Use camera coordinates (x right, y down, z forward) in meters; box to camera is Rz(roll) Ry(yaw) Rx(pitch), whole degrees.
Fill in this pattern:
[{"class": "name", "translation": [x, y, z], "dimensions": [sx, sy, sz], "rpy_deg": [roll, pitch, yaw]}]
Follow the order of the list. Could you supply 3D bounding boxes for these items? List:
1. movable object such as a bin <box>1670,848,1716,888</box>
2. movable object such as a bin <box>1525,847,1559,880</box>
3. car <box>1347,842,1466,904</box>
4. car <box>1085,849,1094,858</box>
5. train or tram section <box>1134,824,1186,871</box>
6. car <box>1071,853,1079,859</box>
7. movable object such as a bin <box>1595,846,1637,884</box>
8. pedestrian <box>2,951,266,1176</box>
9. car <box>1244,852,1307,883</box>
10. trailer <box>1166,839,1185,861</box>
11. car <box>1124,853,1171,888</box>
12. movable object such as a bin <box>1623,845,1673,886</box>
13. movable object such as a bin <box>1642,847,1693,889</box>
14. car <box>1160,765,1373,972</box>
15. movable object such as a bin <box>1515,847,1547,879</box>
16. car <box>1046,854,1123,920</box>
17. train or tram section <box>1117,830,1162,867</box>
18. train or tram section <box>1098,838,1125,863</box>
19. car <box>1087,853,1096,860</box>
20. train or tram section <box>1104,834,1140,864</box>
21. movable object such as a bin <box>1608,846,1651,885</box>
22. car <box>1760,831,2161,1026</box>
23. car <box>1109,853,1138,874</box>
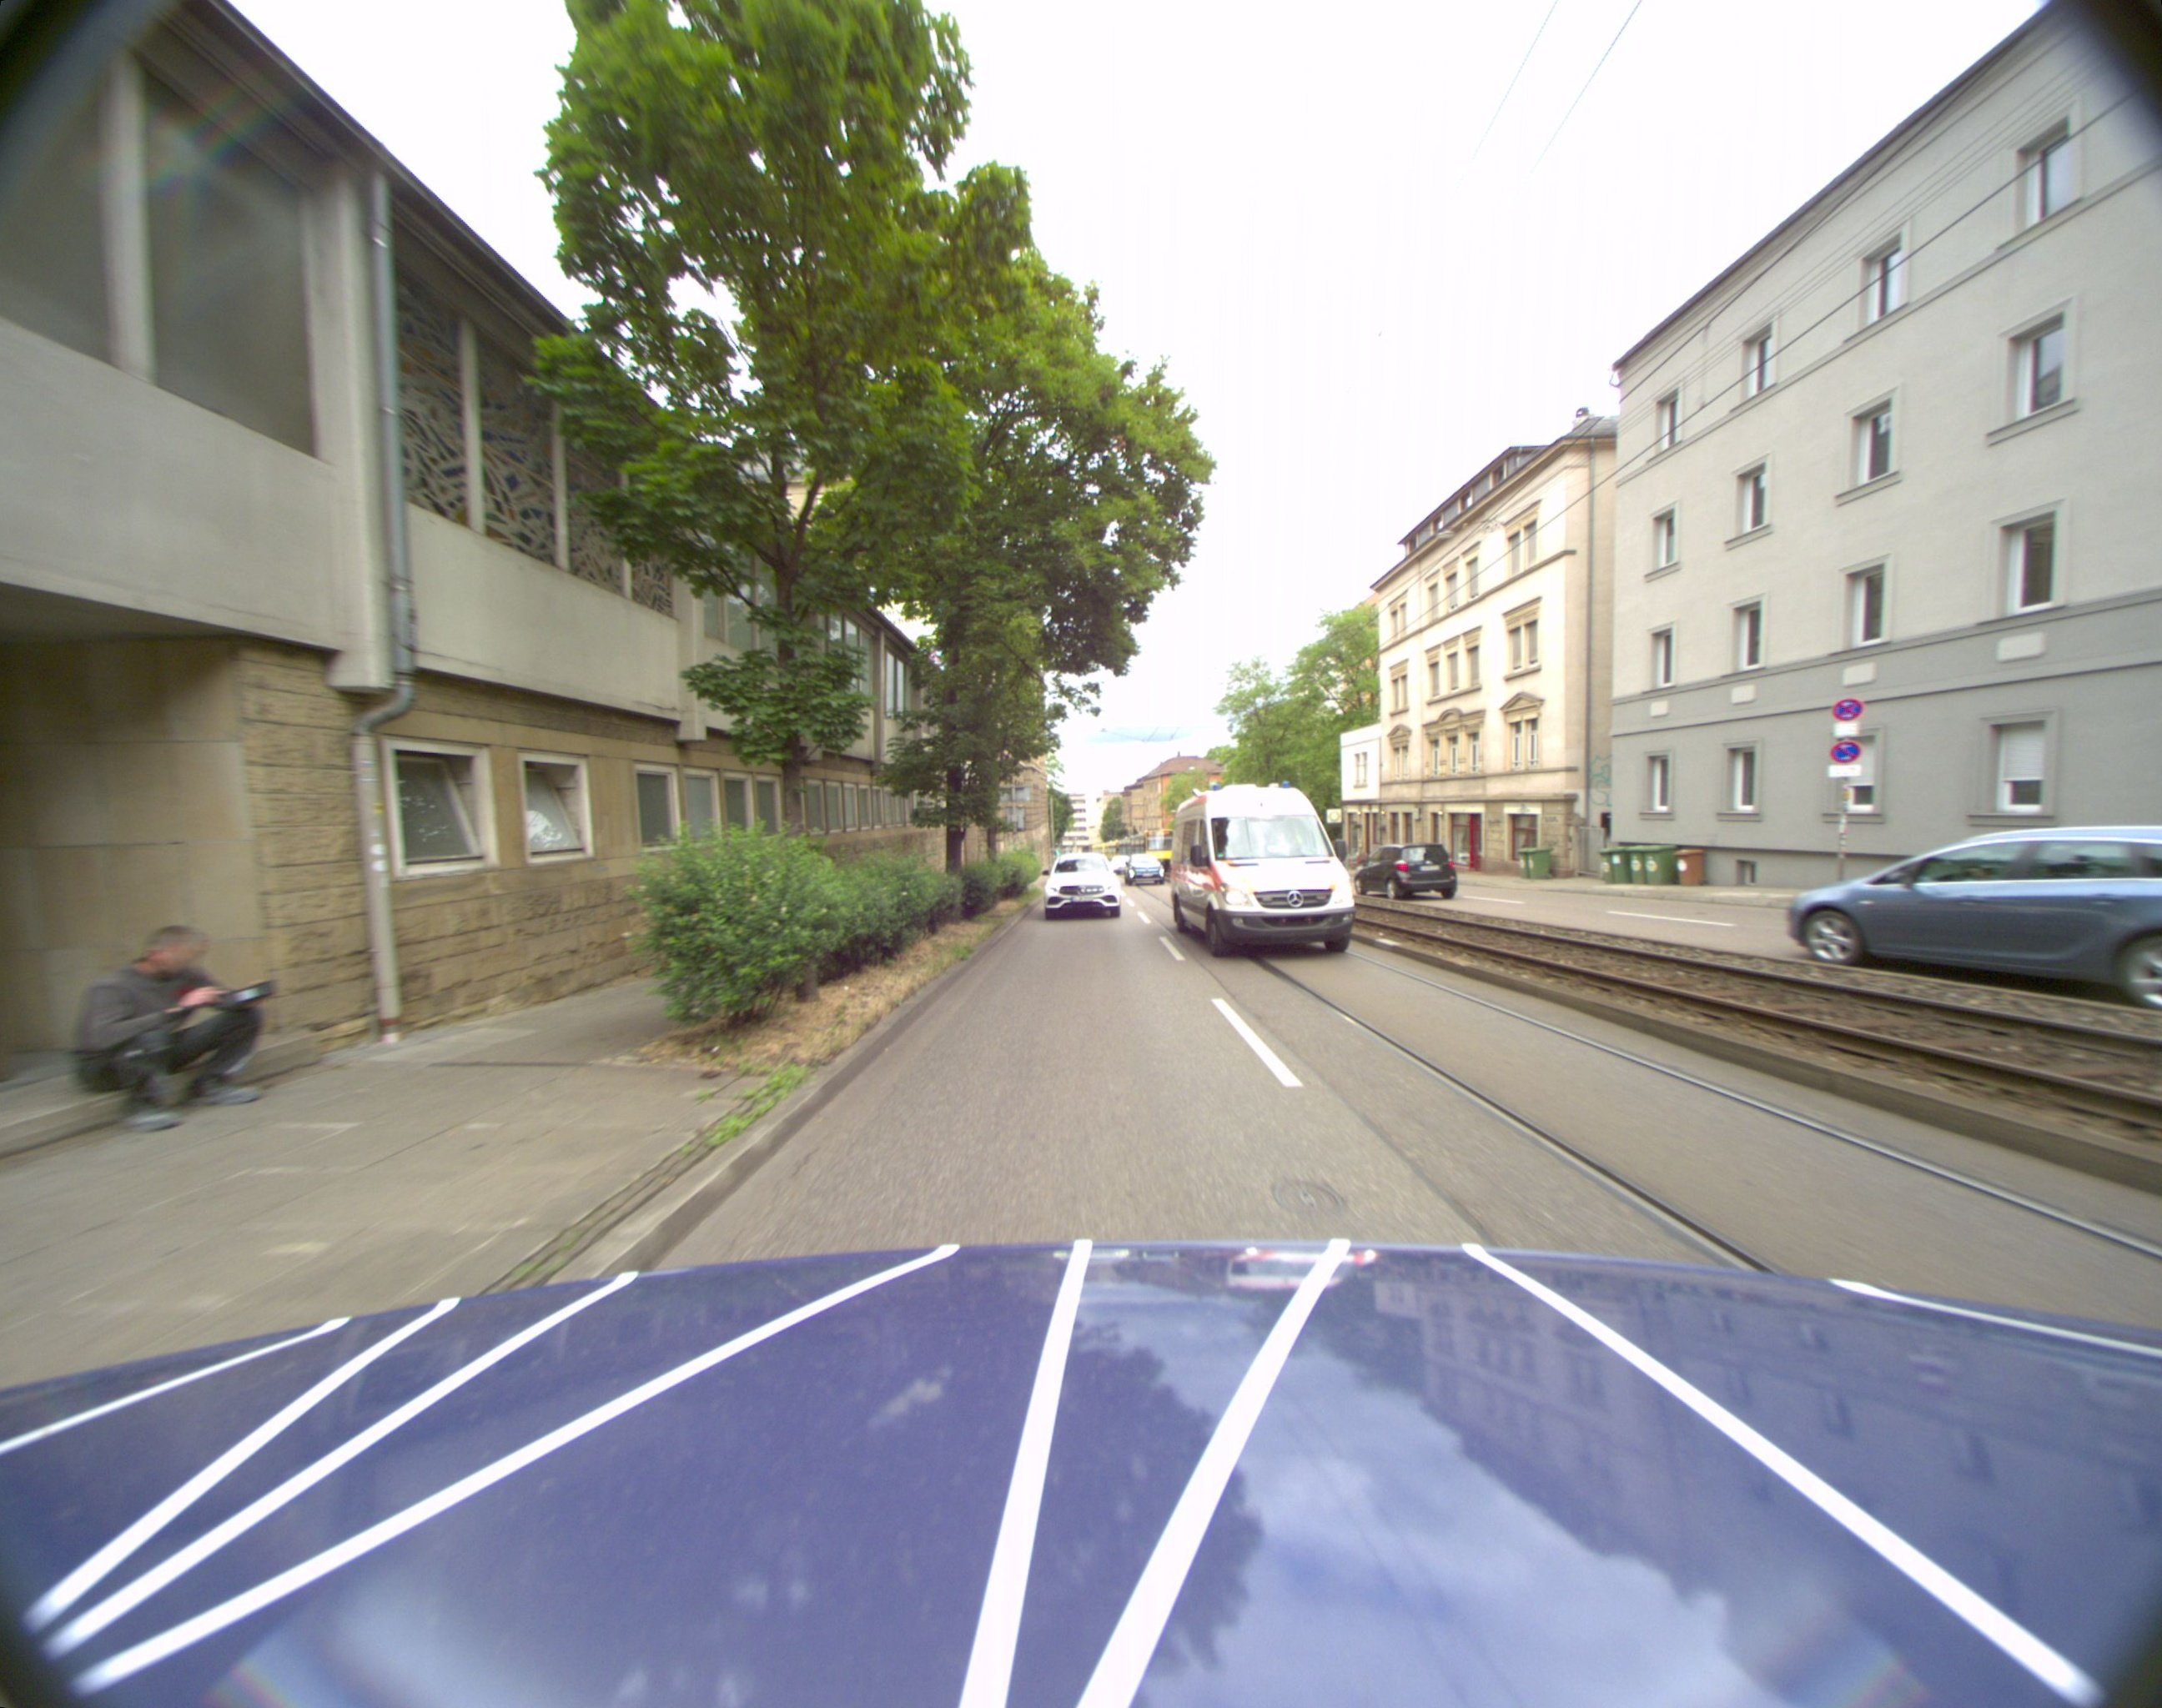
[{"class": "movable object such as a bin", "translation": [15.574, 0.357, 19.347], "dimensions": [0.624, 0.979, 0.676], "rpy_deg": [-2, 1, 1]}, {"class": "movable object such as a bin", "translation": [15.507, 0.312, 25.589], "dimensions": [0.719, 1.067, 0.681], "rpy_deg": [-2, 1, 1]}, {"class": "car", "translation": [9.271, 0.500, 22.003], "dimensions": [1.747, 1.586, 3.969], "rpy_deg": [-2, 0, 1]}, {"class": "car", "translation": [2.440, -0.160, 220.030], "dimensions": [1.872, 2.250, 4.747], "rpy_deg": [-3, 1, -4]}, {"class": "train or tram section", "translation": [7.160, -0.576, 71.801], "dimensions": [2.883, 3.704, 18.755], "rpy_deg": [-3, 0, 0]}, {"class": "car", "translation": [-1.880, 0.546, 224.984], "dimensions": [1.999, 1.574, 3.998], "rpy_deg": [-1, 0, -4]}, {"class": "movable object such as a bin", "translation": [15.533, 0.313, 22.064], "dimensions": [0.730, 1.067, 0.671], "rpy_deg": [-2, 1, 1]}, {"class": "pedestrian", "translation": [-4.741, 1.016, 3.845], "dimensions": [0.526, 0.959, 0.607], "rpy_deg": [-2, 1, 1]}, {"class": "car", "translation": [9.282, 0.604, 36.651], "dimensions": [1.816, 1.353, 4.764], "rpy_deg": [-2, 0, 1]}, {"class": "trailer", "translation": [13.359, -0.528, 107.787], "dimensions": [2.024, 2.956, 5.590], "rpy_deg": [-3, 0, 3]}, {"class": "car", "translation": [3.329, 0.785, 38.786], "dimensions": [1.931, 1.563, 4.180], "rpy_deg": [-4, 0, -1]}, {"class": "movable object such as a bin", "translation": [15.500, 0.315, 20.796], "dimensions": [0.827, 1.067, 0.697], "rpy_deg": [-2, 1, 1]}, {"class": "movable object such as a bin", "translation": [15.503, 0.354, 20.099], "dimensions": [0.827, 1.067, 0.676], "rpy_deg": [-2, 1, 1]}, {"class": "car", "translation": [2.781, 0.208, 13.041], "dimensions": [2.039, 2.684, 5.854], "rpy_deg": [-2, 0, -1]}, {"class": "movable object such as a bin", "translation": [15.558, 0.307, 26.305], "dimensions": [0.688, 1.067, 0.676], "rpy_deg": [-2, 1, 1]}, {"class": "car", "translation": [0.135, 0.842, 21.594], "dimensions": [1.894, 1.610, 4.479], "rpy_deg": [-2, 0, 1]}, {"class": "train or tram section", "translation": [6.704, -0.568, 90.394], "dimensions": [2.884, 3.704, 18.751], "rpy_deg": [-3, 0, -3]}, {"class": "train or tram section", "translation": [4.889, -0.578, 125.744], "dimensions": [2.890, 3.704, 14.852], "rpy_deg": [-3, 0, -3]}, {"class": "car", "translation": [2.656, 0.568, 191.559], "dimensions": [1.999, 1.645, 3.998], "rpy_deg": [-2, 0, -5]}, {"class": "train or tram section", "translation": [5.638, -0.659, 108.976], "dimensions": [2.884, 3.704, 18.696], "rpy_deg": [-3, 0, -4]}, {"class": "movable object such as a bin", "translation": [15.450, 0.318, 21.411], "dimensions": [0.744, 1.067, 0.606], "rpy_deg": [-2, 1, 1]}, {"class": "car", "translation": [9.100, 0.544, 6.830], "dimensions": [1.848, 1.446, 4.661], "rpy_deg": [-2, 0, 1]}, {"class": "car", "translation": [3.416, 0.744, 61.925], "dimensions": [1.999, 1.543, 4.316], "rpy_deg": [-2, 1, -1]}]
